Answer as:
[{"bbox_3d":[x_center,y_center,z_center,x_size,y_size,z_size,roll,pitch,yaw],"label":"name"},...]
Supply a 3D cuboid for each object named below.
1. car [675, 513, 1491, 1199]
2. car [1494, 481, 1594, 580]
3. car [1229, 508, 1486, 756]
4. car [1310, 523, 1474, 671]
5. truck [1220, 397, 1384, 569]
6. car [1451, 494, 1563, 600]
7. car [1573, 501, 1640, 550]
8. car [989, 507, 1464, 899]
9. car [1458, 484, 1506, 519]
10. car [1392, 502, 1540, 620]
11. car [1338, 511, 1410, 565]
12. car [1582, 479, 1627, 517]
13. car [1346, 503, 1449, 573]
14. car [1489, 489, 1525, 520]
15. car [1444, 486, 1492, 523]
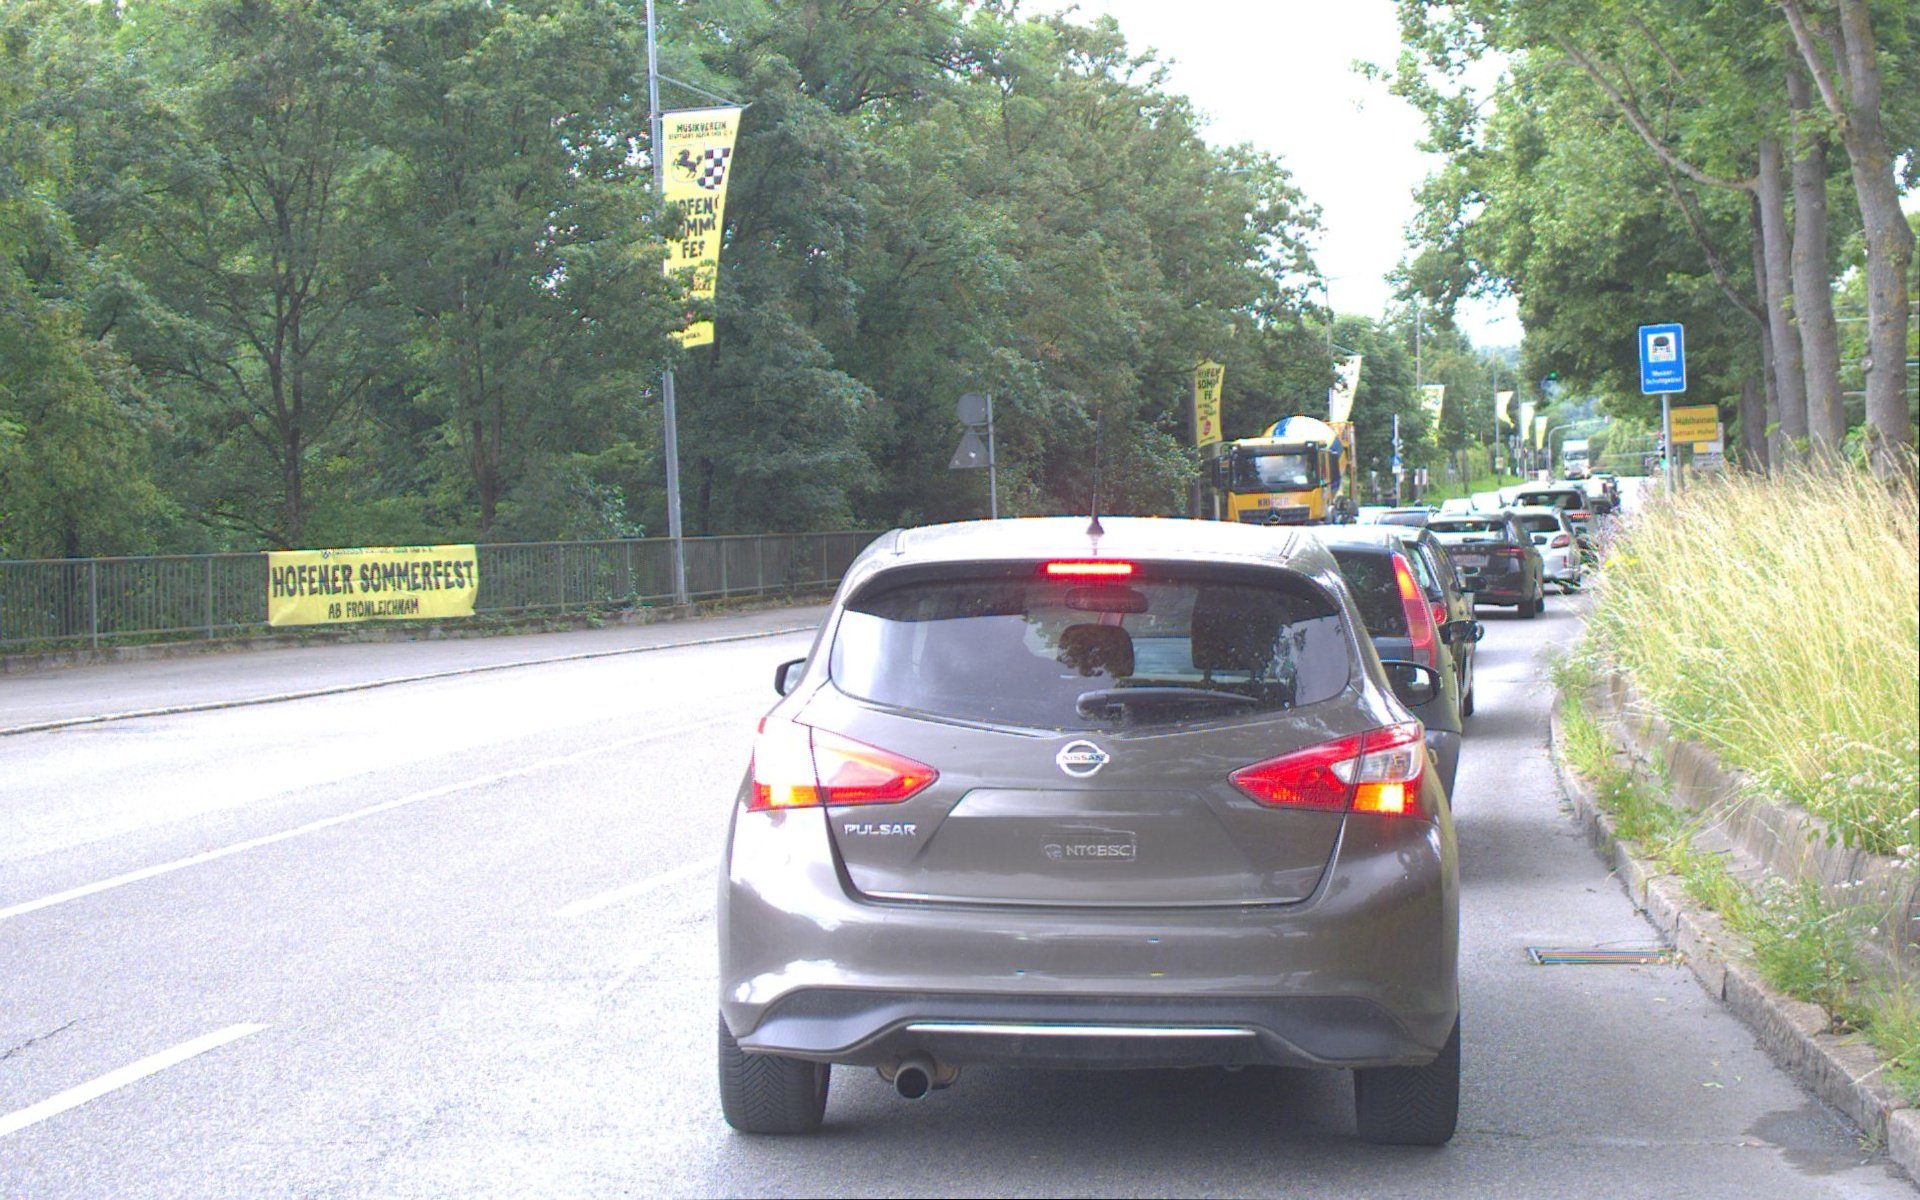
[{"bbox_3d":[0.370,0.551,9.516,1.775,1.489,4.000,0,0,3],"label":"car"},{"bbox_3d":[12.439,-1.483,73.057,1.892,2.007,3.998,-1,1,12],"label":"car"},{"bbox_3d":[2.795,0.181,23.885,1.578,1.533,3.999,-2,0,8],"label":"car"},{"bbox_3d":[4.371,-0.049,34.505,1.501,1.359,3.586,-2,1,9],"label":"car"},{"bbox_3d":[8.469,-2.800,84.037,2.656,3.925,10.105,0,1,13],"label":"truck"},{"bbox_3d":[9.449,-0.880,59.189,1.719,1.687,3.998,-2,-1,11],"label":"car"},{"bbox_3d":[19.718,-2.265,104.758,1.892,1.440,3.805,-1,1,12],"label":"car"},{"bbox_3d":[1.229,0.412,15.841,1.893,1.568,3.999,0,0,5],"label":"car"},{"bbox_3d":[23.297,-4.393,153.362,1.818,1.457,3.998,-1,1,12],"label":"car"},{"bbox_3d":[6.994,-0.535,47.259,1.805,1.535,3.998,1,1,11],"label":"car"},{"bbox_3d":[11.824,-1.779,98.007,1.767,1.474,3.998,0,1,11],"label":"car"},{"bbox_3d":[28.922,-4.557,154.218,1.892,1.647,3.998,-1,1,12],"label":"car"},{"bbox_3d":[9.770,-1.360,76.567,1.852,1.481,4.418,-1,0,12],"label":"car"},{"bbox_3d":[28.854,-5.037,181.354,1.753,1.415,3.998,-2,-1,11],"label":"car"},{"bbox_3d":[21.014,-3.939,142.135,1.722,1.437,3.998,-2,0,11],"label":"car"}]
